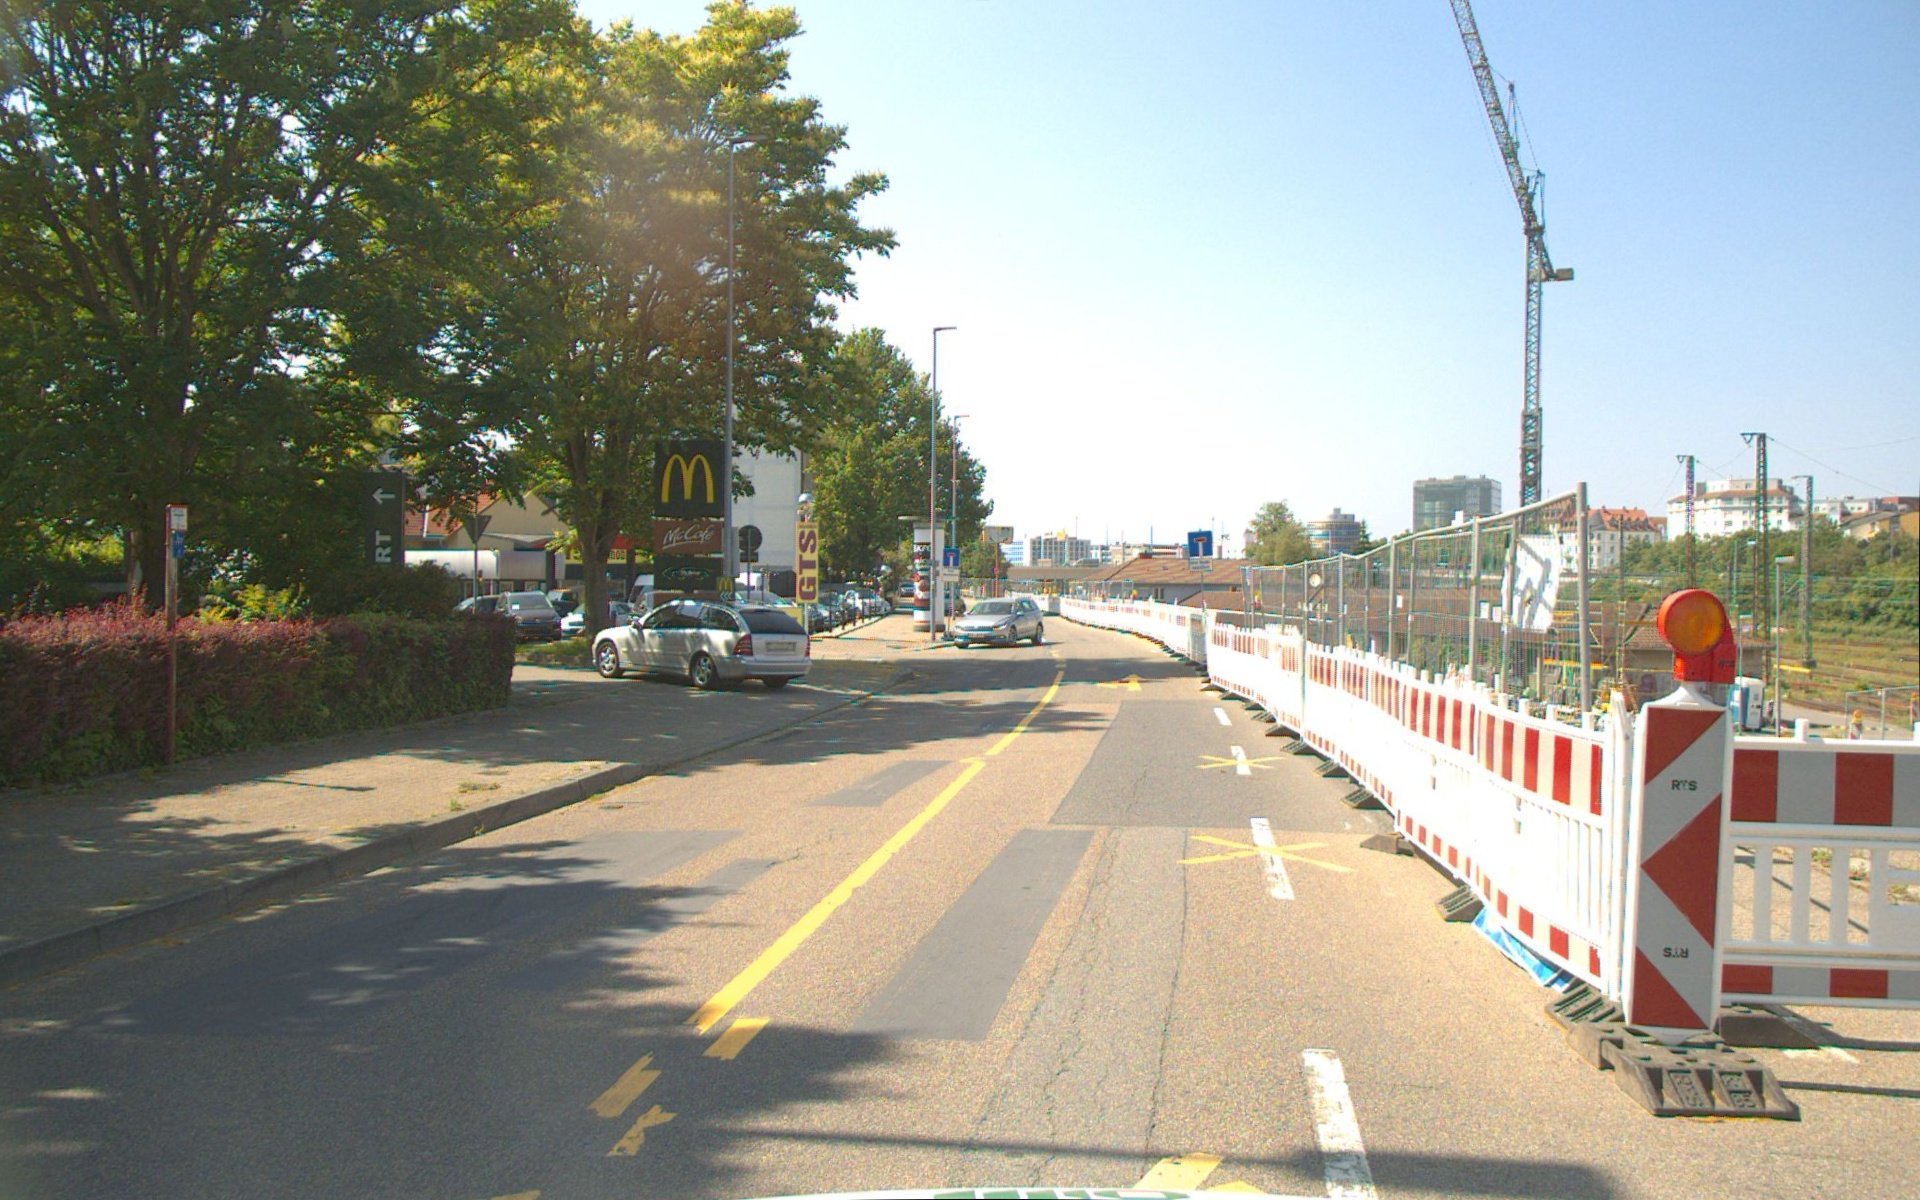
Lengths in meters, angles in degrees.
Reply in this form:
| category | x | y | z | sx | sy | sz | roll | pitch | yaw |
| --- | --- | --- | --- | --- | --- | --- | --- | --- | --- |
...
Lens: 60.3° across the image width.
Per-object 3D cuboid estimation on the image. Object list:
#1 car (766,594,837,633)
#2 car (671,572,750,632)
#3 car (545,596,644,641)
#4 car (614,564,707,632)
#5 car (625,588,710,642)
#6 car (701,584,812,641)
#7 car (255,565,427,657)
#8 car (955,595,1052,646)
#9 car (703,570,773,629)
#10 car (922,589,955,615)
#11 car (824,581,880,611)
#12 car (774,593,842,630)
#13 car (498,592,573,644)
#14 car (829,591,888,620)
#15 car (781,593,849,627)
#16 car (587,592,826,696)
| category | x | y | z | sx | sy | sz | roll | pitch | yaw |
| --- | --- | --- | --- | --- | --- | --- | --- | --- | --- |
| car | -6.585 | 0.548 | 68.390 | 1.811 | 1.498 | 3.972 | -3 | 1 | -22 |
| car | -10.408 | 0.125 | 69.295 | 2.198 | 2.391 | 4.826 | -1 | -1 | 4 |
| car | -13.941 | 0.669 | 63.327 | 1.868 | 1.602 | 4.691 | 0 | 1 | 13 |
| car | -12.946 | -0.043 | 71.955 | 2.228 | 2.806 | 6.157 | -1 | -1 | 7 |
| car | -10.044 | 0.540 | 56.569 | 2.014 | 1.737 | 4.286 | -1 | -1 | -22 |
| car | -7.161 | 0.470 | 57.887 | 1.958 | 1.736 | 4.608 | -2 | -2 | -34 |
| car | -15.219 | 0.291 | 40.562 | 4.438 | 1.953 | 1.884 | -3 | 0 | 39 |
| car | 1.422 | 0.616 | 51.918 | 1.642 | 1.519 | 4.607 | -1 | 0 | 20 |
| car | -10.072 | 0.012 | 75.640 | 2.200 | 2.472 | 5.719 | 3 | -1 | 1 |
| car | -1.384 | 0.134 | 106.402 | 1.830 | 1.524 | 4.034 | -1 | 1 | 3 |
| car | -7.730 | -0.288 | 118.334 | 3.848 | 1.993 | 1.756 | 1 | 0 | -7 |
| car | -6.816 | 0.536 | 73.925 | 1.758 | 1.498 | 3.968 | -3 | 1 | -25 |
| car | -14.786 | 0.602 | 57.431 | 1.781 | 1.685 | 4.281 | -2 | 0 | -25 |
| car | -5.596 | 0.313 | 90.640 | 1.756 | 1.498 | 3.964 | -3 | 1 | -27 |
| car | -6.862 | 0.495 | 77.947 | 1.650 | 1.498 | 3.959 | -3 | 1 | -30 |
| car | -4.342 | 0.676 | 27.915 | 4.312 | 1.428 | 1.703 | 3 | 3 | 44 |
